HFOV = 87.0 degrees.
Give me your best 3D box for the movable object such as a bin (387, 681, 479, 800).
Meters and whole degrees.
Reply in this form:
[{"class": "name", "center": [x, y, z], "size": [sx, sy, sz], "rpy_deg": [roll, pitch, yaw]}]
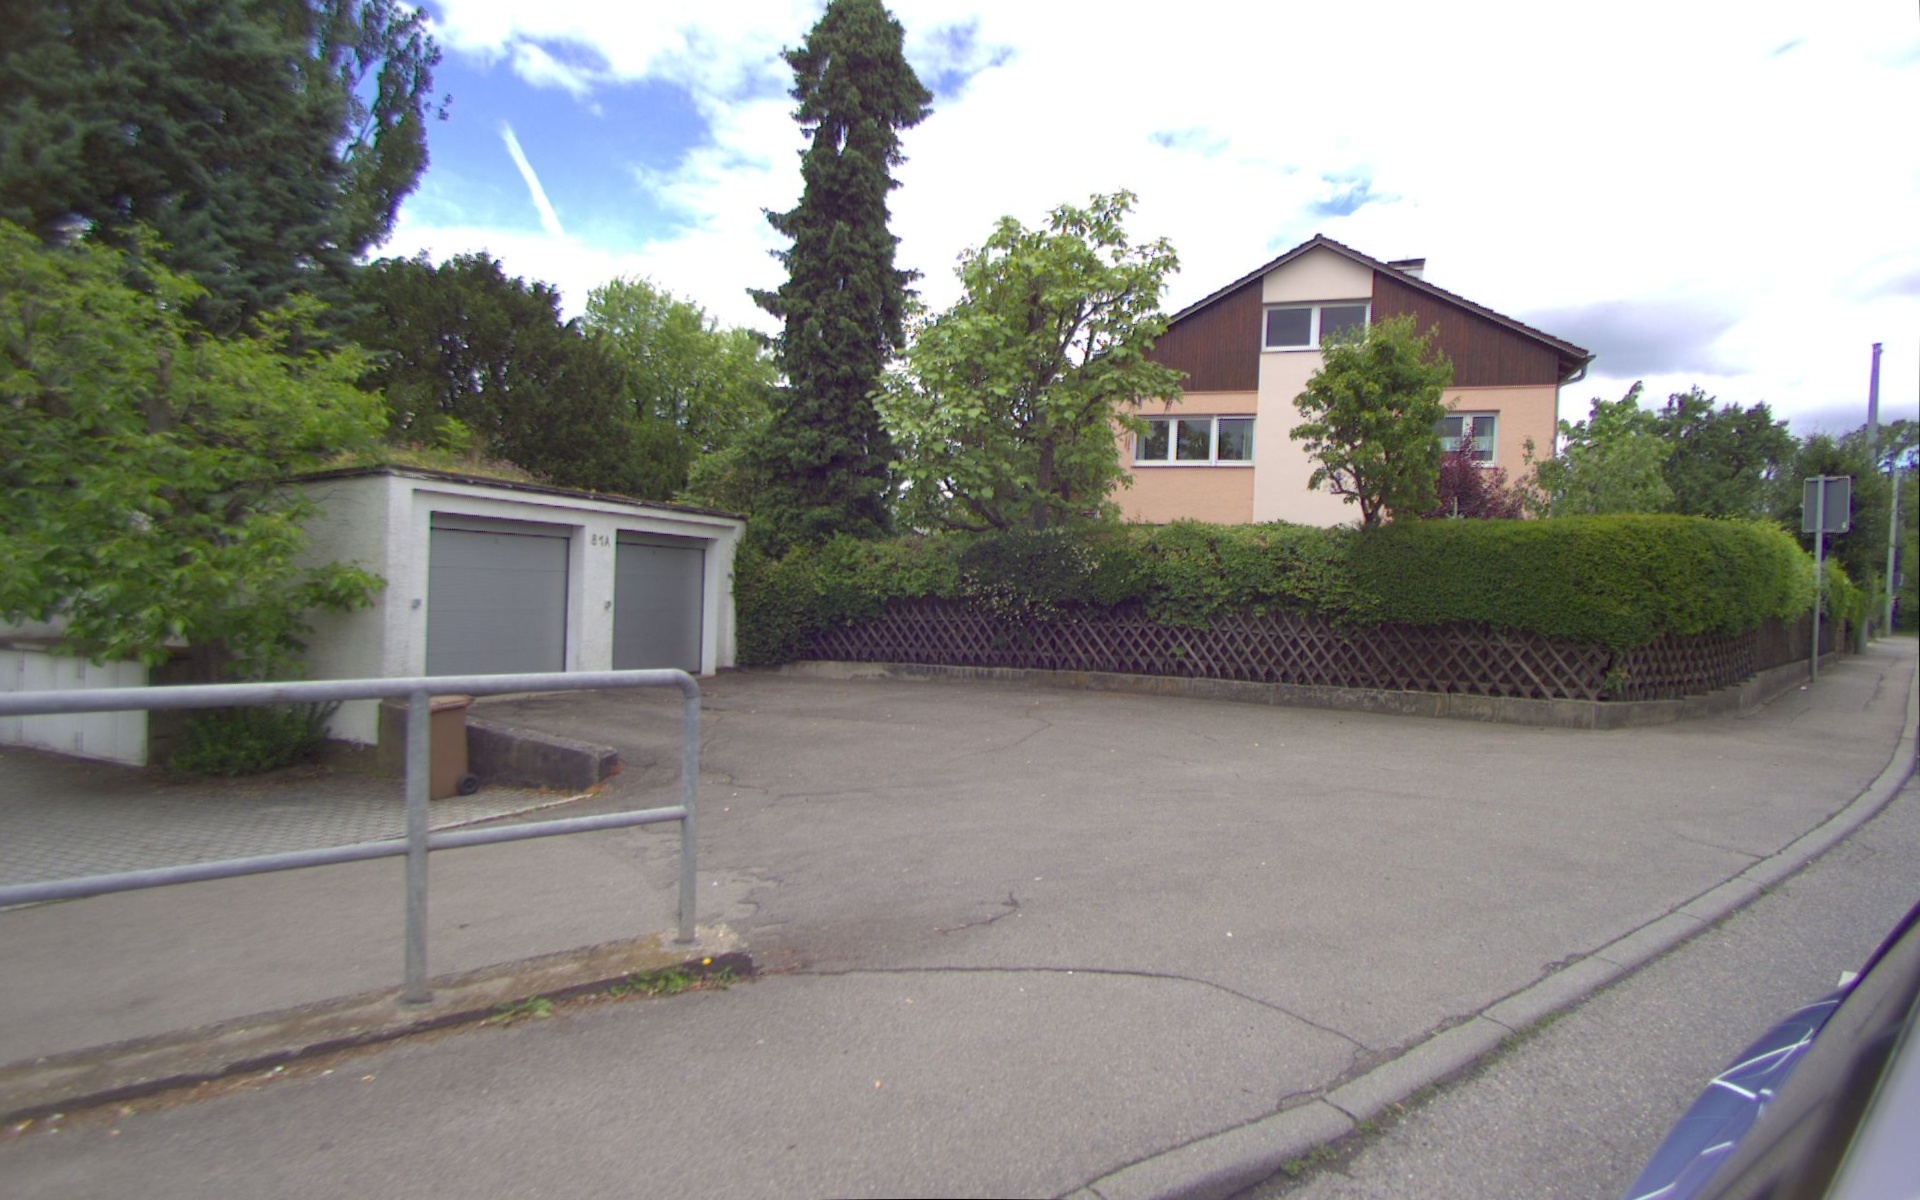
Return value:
[{"class": "movable object such as a bin", "center": [-4.917, 1.294, 9.454], "size": [0.534, 0.986, 0.505], "rpy_deg": [-1, 3, 25]}]
